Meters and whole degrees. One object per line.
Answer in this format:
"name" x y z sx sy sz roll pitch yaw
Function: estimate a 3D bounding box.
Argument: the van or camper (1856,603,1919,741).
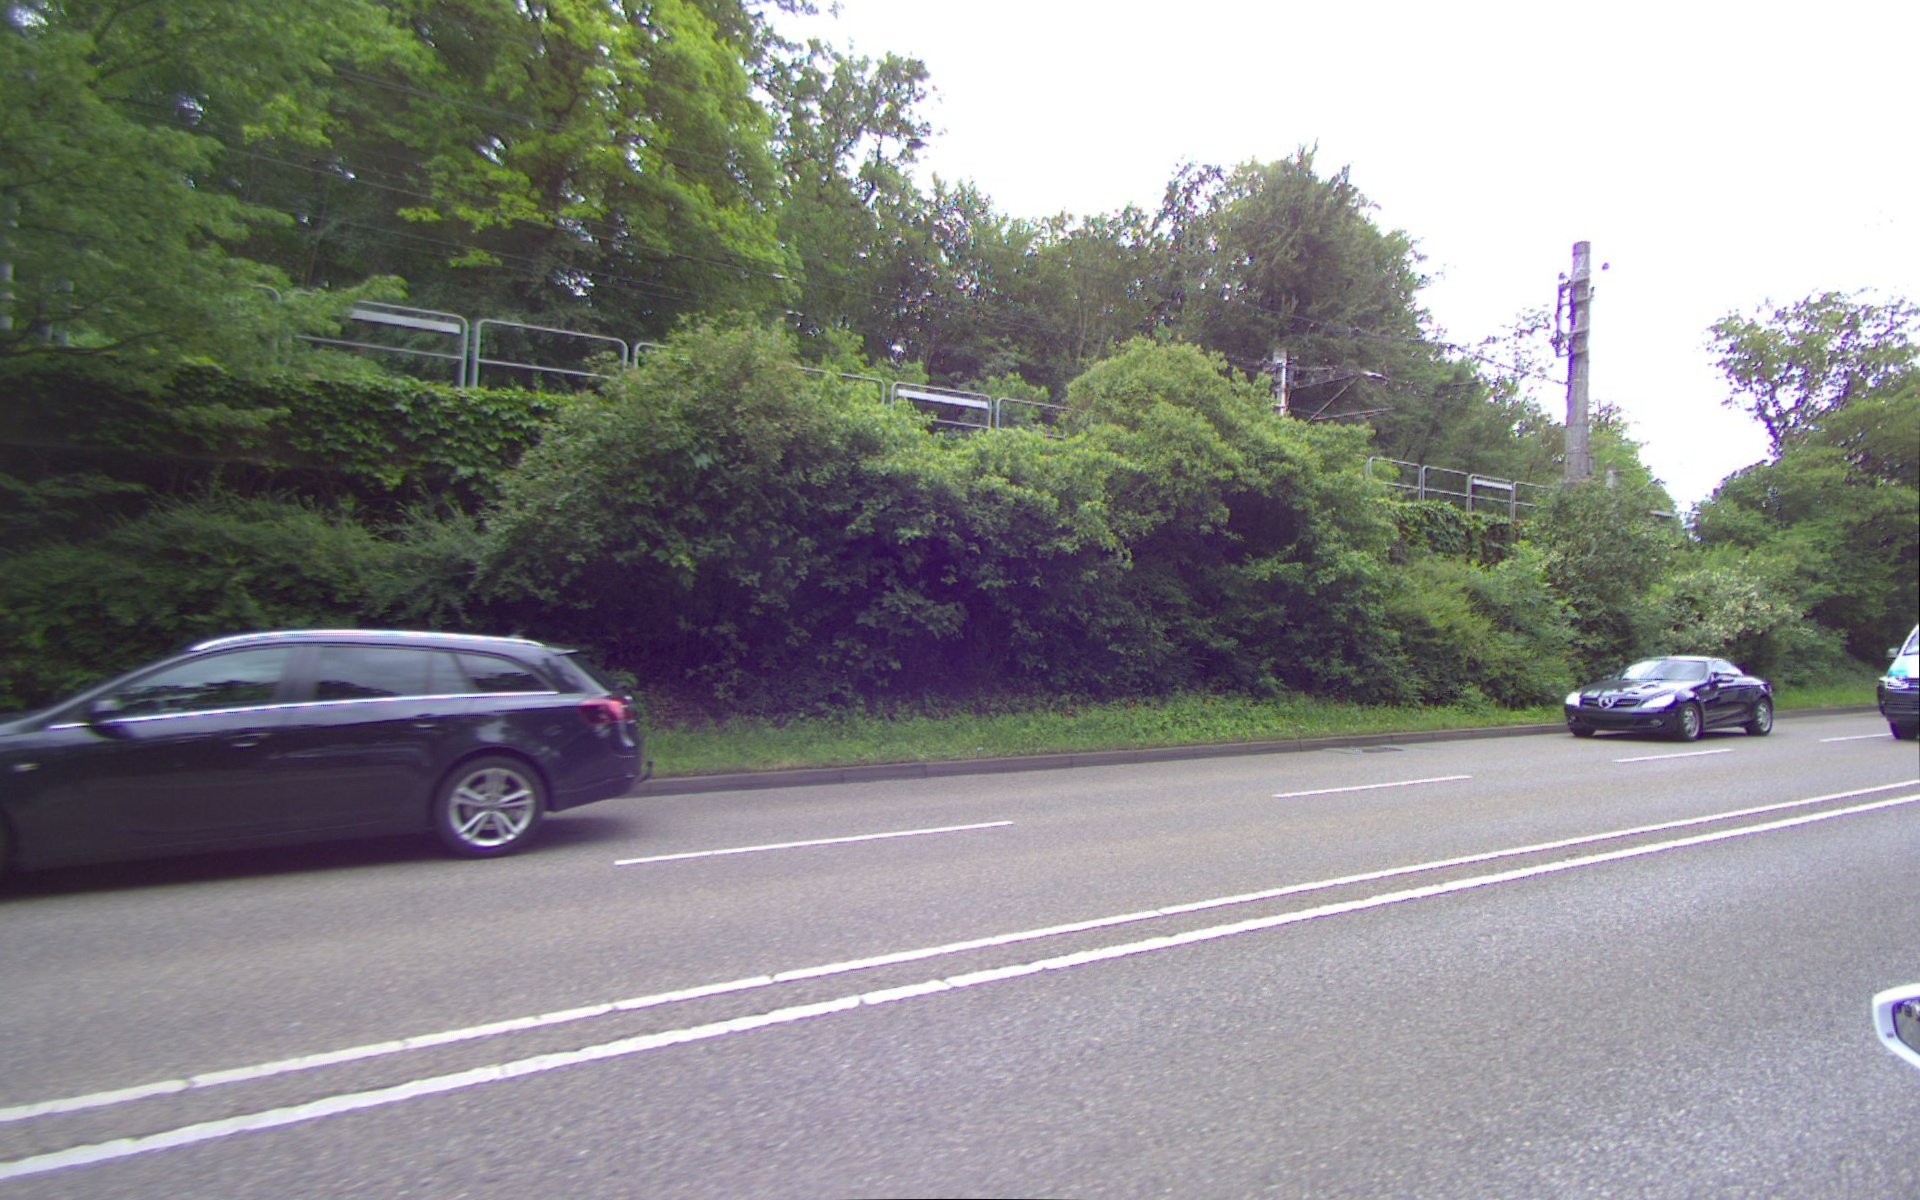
"van or camper" 16.659 1.124 16.034 5.308 2.039 1.984 2 -5 -31

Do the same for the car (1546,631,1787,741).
"car" 11.723 1.383 16.623 4.021 1.617 1.728 2 -4 -30

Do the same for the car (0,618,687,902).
"car" -4.329 0.911 6.799 4.475 1.487 1.905 2 -3 -30
